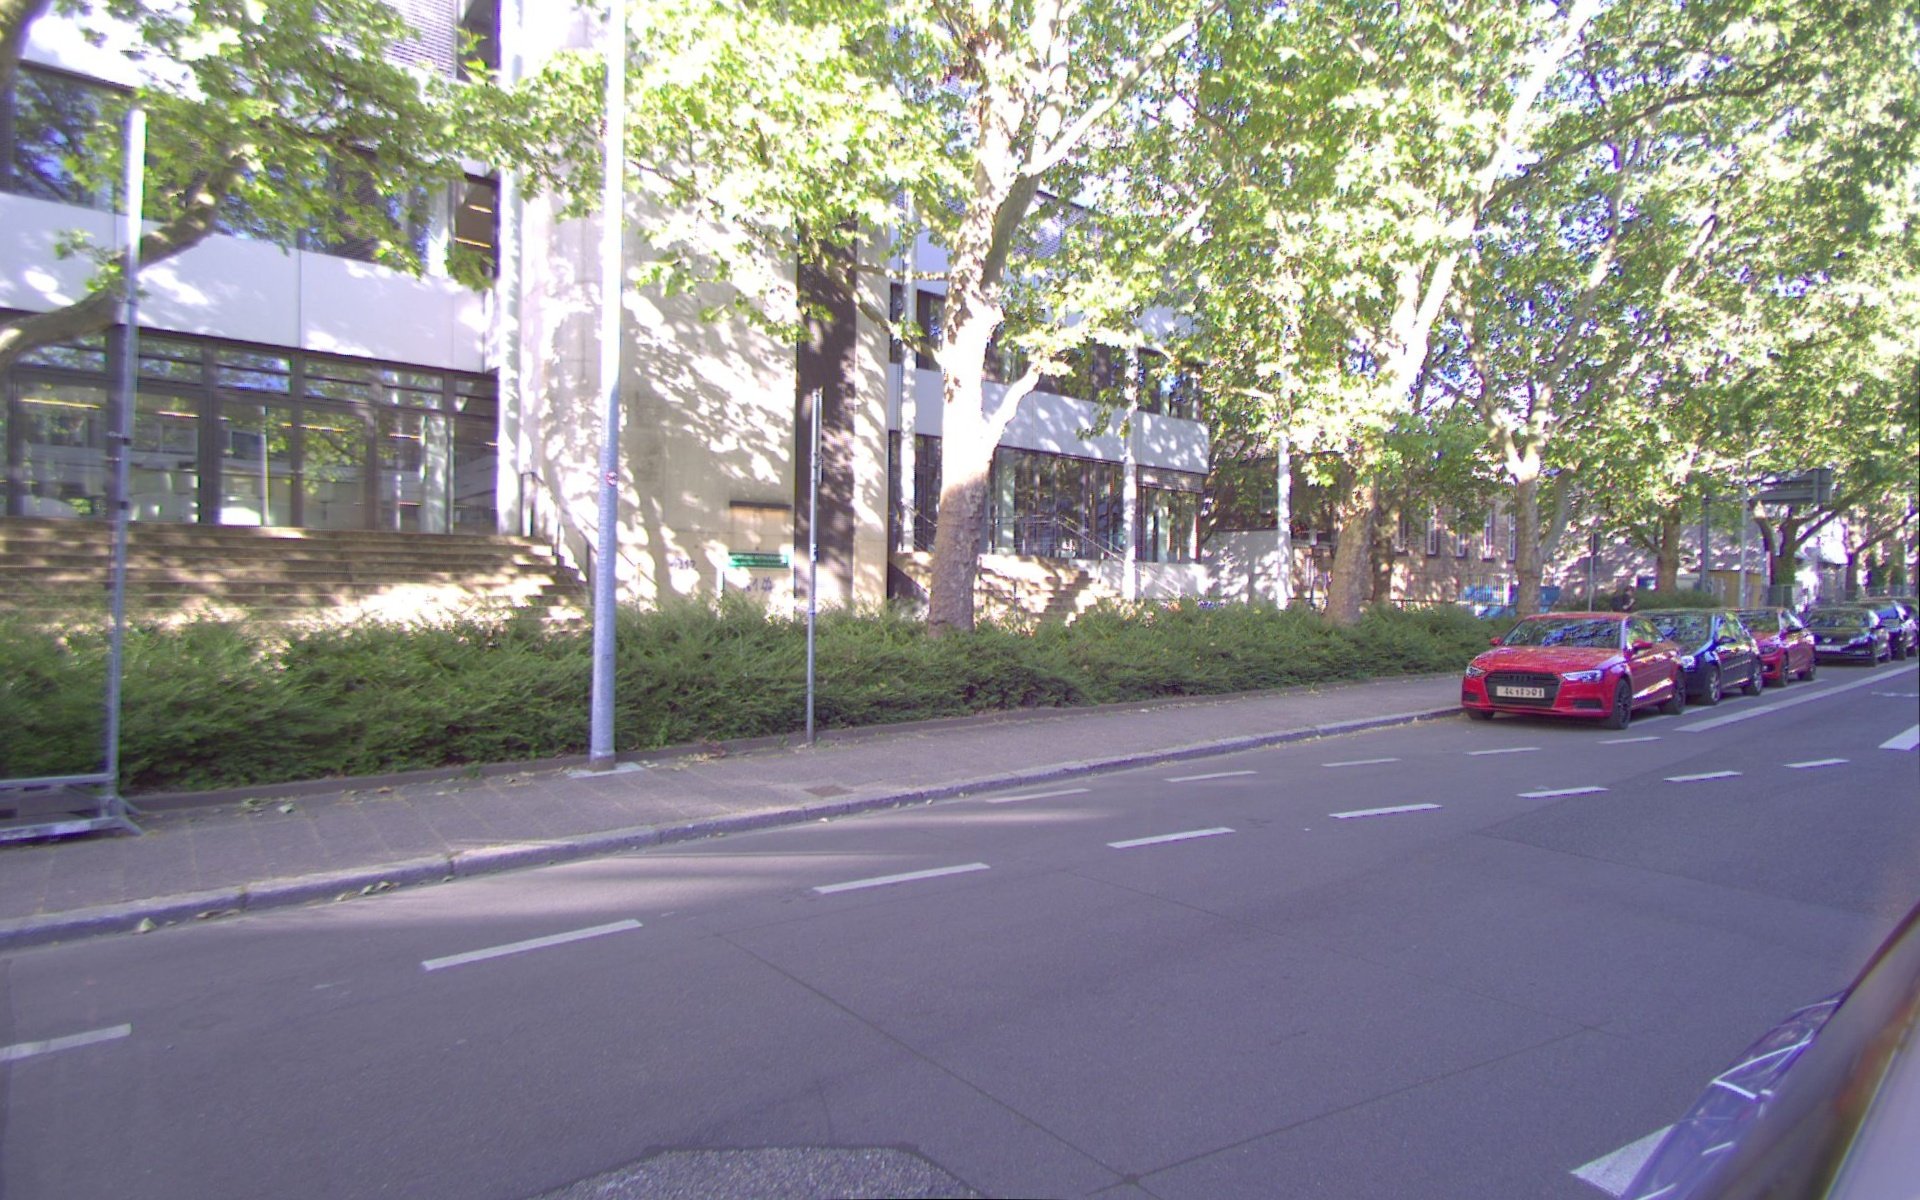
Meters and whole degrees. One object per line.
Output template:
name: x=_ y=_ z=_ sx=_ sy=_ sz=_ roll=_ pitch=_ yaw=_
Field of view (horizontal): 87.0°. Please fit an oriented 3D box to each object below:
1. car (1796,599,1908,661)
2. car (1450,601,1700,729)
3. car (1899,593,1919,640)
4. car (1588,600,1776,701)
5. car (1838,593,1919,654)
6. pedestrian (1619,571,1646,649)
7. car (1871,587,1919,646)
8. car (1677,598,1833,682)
car: x=22.943 y=0.714 z=25.985 sx=3.855 sy=1.441 sz=1.691 roll=-1 pitch=0 yaw=-41
car: x=8.296 y=0.738 z=13.514 sx=3.931 sy=1.409 sz=1.792 roll=-1 pitch=1 yaw=-42
car: x=35.531 y=0.576 z=36.781 sx=4.497 sy=1.633 sz=1.632 roll=-1 pitch=0 yaw=-41
car: x=11.850 y=0.731 z=16.543 sx=3.632 sy=1.436 sz=1.668 roll=-1 pitch=0 yaw=-40
car: x=26.629 y=0.607 z=29.042 sx=4.158 sy=1.598 sz=1.632 roll=-1 pitch=0 yaw=-41
pedestrian: x=17.642 y=0.257 z=26.563 sx=0.549 sy=2.039 sz=0.555 roll=0 pitch=0 yaw=38
car: x=31.167 y=0.476 z=33.010 sx=4.497 sy=1.814 sz=1.632 roll=-1 pitch=0 yaw=-41
car: x=15.738 y=0.710 z=19.970 sx=3.854 sy=1.467 sz=1.691 roll=-1 pitch=0 yaw=-40
